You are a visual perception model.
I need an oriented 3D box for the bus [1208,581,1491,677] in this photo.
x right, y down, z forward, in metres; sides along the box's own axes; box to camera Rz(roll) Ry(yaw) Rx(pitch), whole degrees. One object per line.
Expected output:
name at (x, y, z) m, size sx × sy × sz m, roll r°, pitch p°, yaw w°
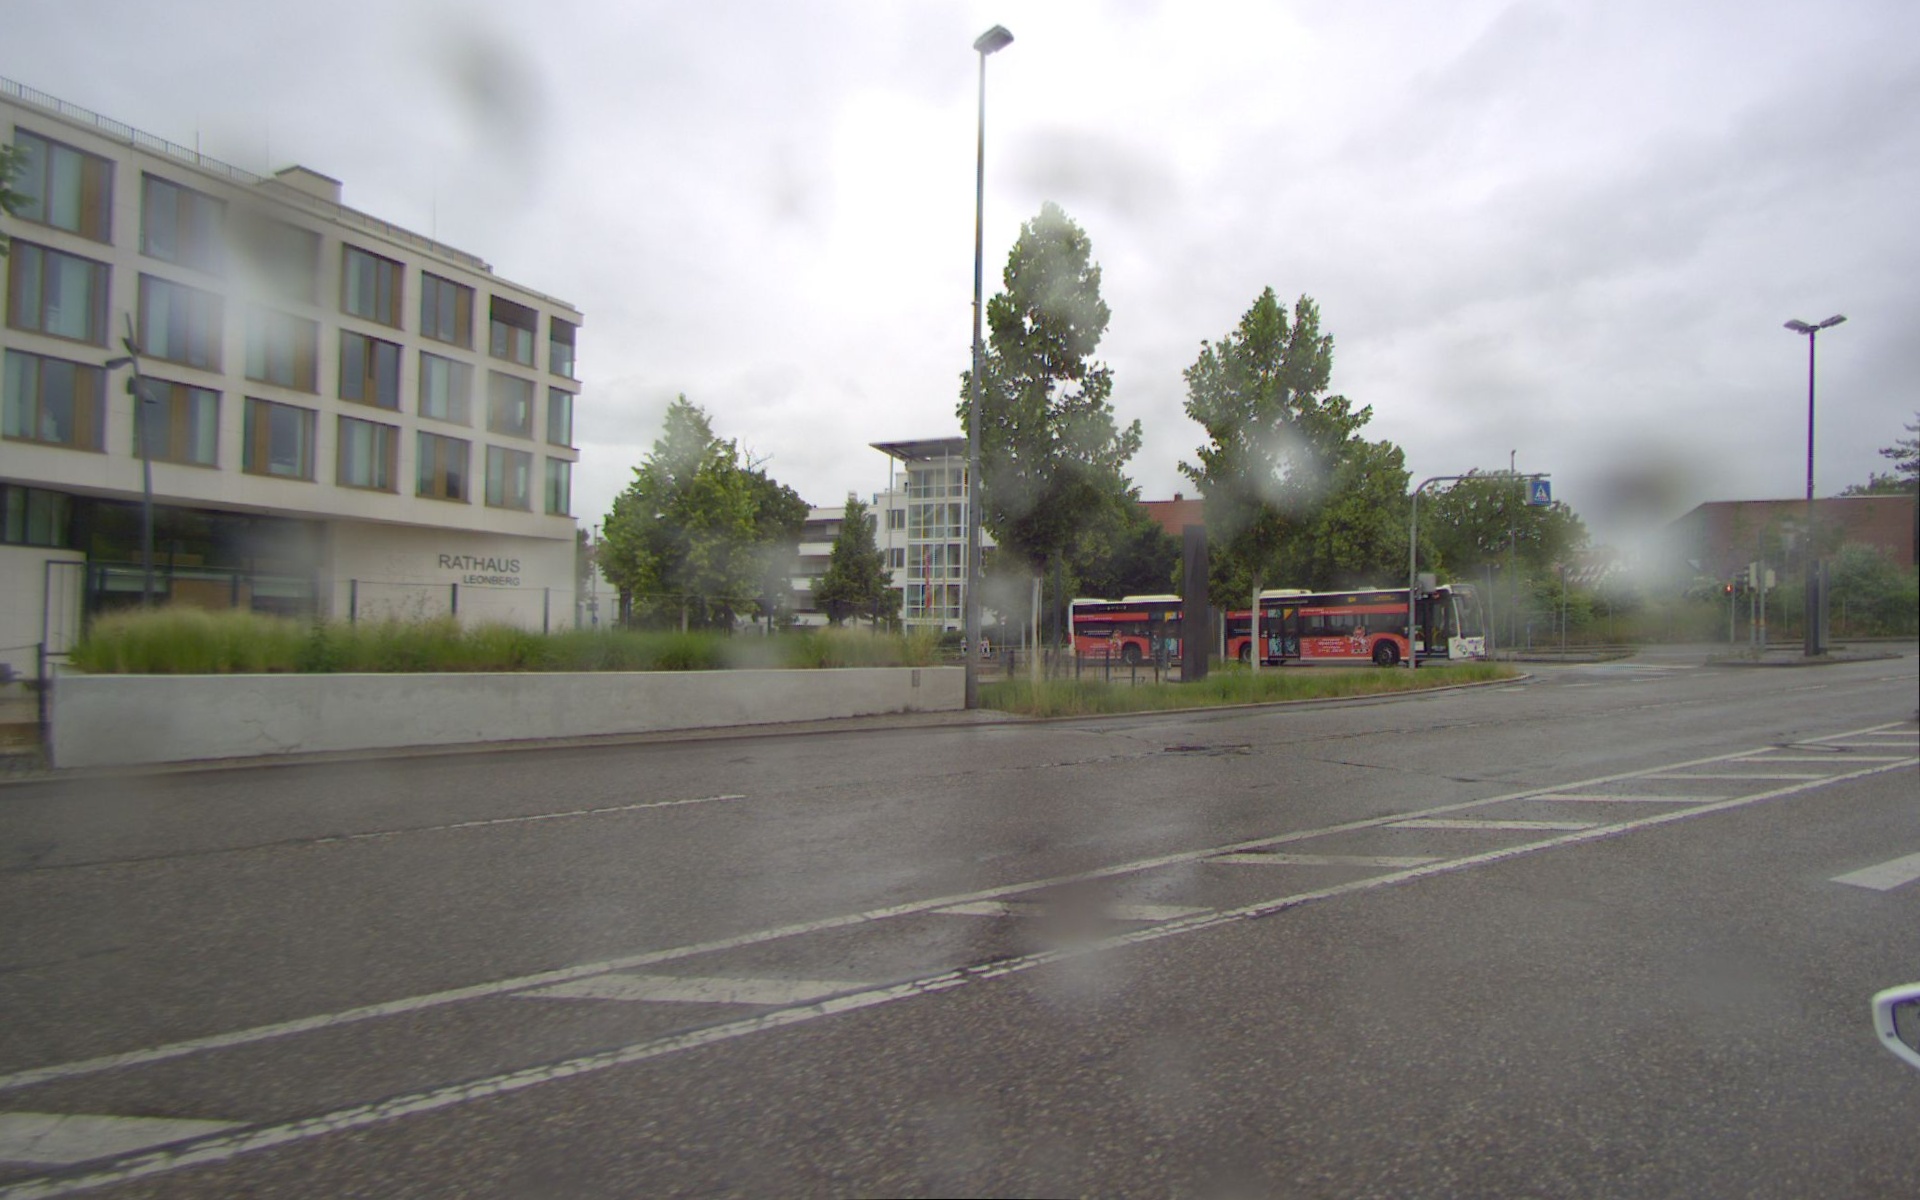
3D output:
bus at (15.127, 1.194, 39.937) m, size 2.844 × 3.323 × 10.275 m, roll 5°, pitch -5°, yaw -44°

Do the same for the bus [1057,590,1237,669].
bus at (8.514, 1.361, 46.248) m, size 7.715 × 3.323 × 2.734 m, roll -1°, pitch -4°, yaw 37°
